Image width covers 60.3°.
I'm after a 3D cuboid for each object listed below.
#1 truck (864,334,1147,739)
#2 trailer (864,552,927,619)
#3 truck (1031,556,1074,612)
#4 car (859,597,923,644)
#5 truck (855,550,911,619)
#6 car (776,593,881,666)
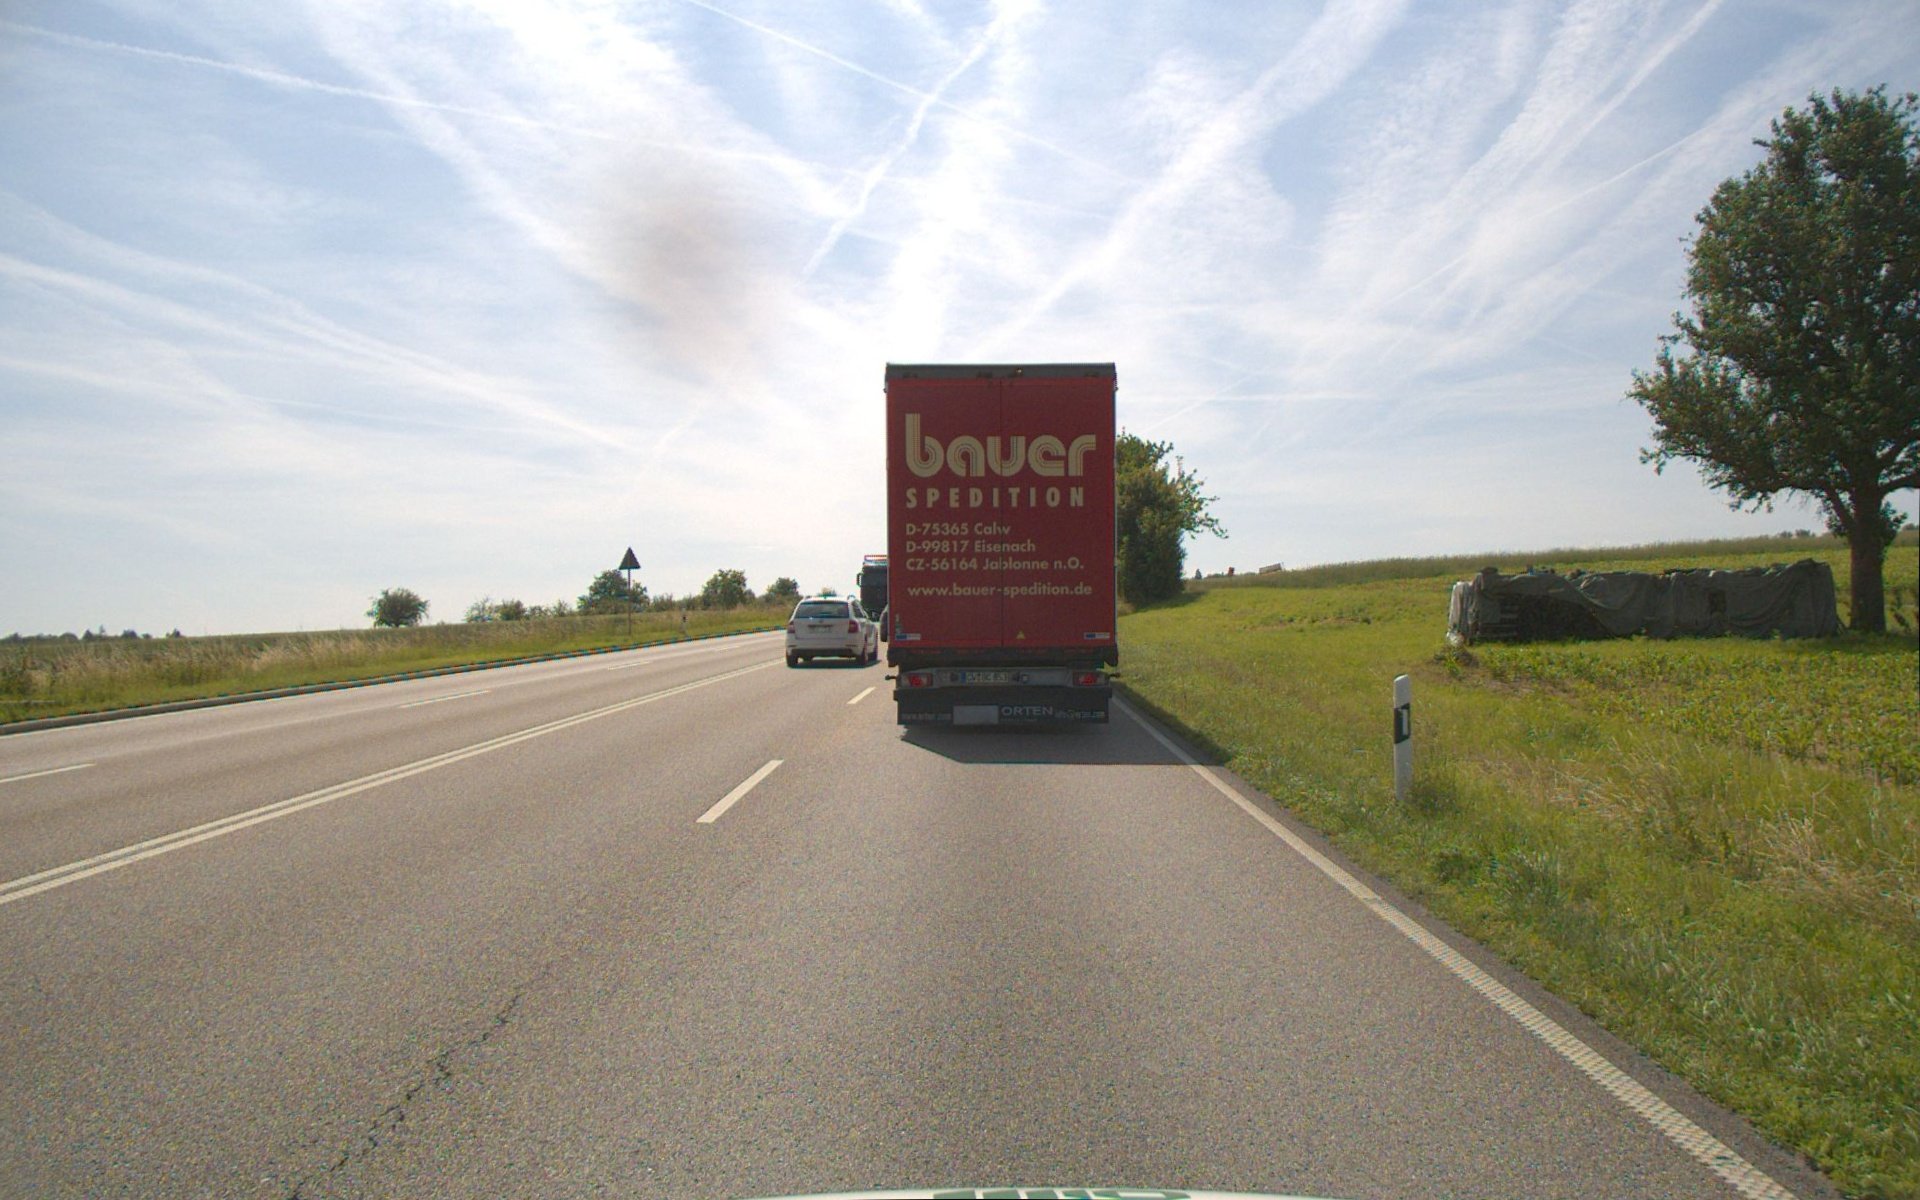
[{"bbox_3d":[0.656,-0.664,25.885,2.945,4.253,16.716,1,0,1],"label":"truck"},{"bbox_3d":[-4.255,-0.939,111.954,2.491,4.173,13.591,-2,0,5],"label":"trailer"},{"bbox_3d":[7.232,-1.160,127.459,2.983,3.978,18.407,-1,0,4],"label":"truck"},{"bbox_3d":[-2.283,0.651,55.711,1.669,1.498,4.813,0,0,3],"label":"car"},{"bbox_3d":[-4.856,-0.960,105.346,2.561,4.173,6.092,-2,0,5],"label":"truck"},{"bbox_3d":[-2.853,0.612,36.896,1.783,1.498,4.790,1,0,2],"label":"car"}]
